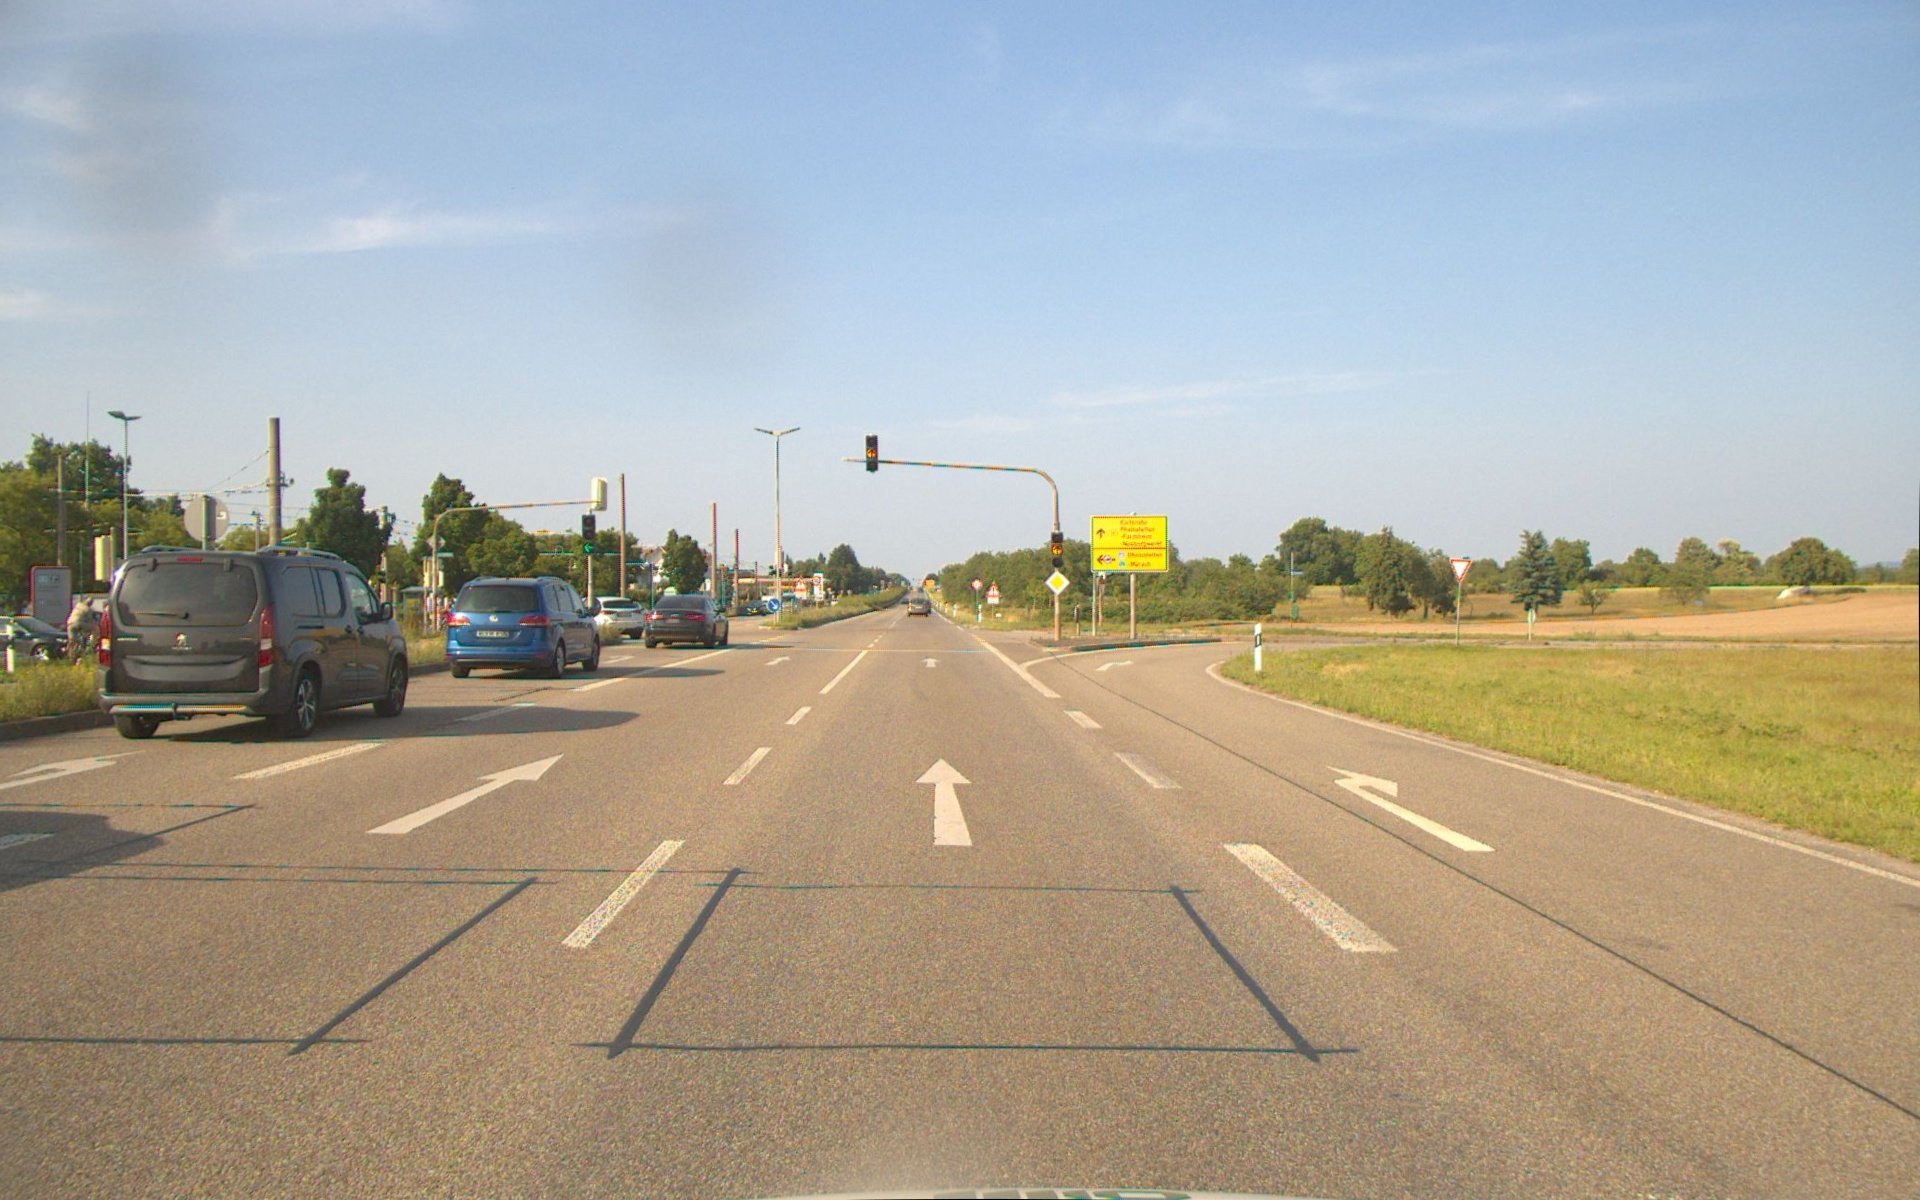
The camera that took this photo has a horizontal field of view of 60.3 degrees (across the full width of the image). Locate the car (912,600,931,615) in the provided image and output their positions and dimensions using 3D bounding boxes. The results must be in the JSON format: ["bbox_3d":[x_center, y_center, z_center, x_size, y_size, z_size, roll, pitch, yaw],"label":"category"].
[{"bbox_3d":[-4.066,0.794,173.932,1.953,1.579,3.999,0,0,-1],"label":"car"}]

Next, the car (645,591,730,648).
[{"bbox_3d":[-7.411,0.499,45.276,1.734,1.497,4.014,0,0,-1],"label":"car"}]

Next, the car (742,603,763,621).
[{"bbox_3d":[-20.383,1.147,162.325,1.654,1.691,3.757,0,0,-1],"label":"car"}]

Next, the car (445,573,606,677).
[{"bbox_3d":[-7.614,0.410,29.434,1.734,1.709,4.519,0,0,-1],"label":"car"}]

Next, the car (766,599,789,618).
[{"bbox_3d":[-16.767,0.790,152.096,1.763,1.651,3.621,1,-1,-1],"label":"car"}]

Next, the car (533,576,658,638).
[{"bbox_3d":[-12.433,0.235,56.443,3.909,2.049,1.833,0,0,27],"label":"car"}]

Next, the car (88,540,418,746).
[{"bbox_3d":[-7.238,0.384,17.461,1.697,1.888,4.518,0,0,-2],"label":"car"}]

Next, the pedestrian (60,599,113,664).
[{"bbox_3d":[-23.962,0.861,45.394,0.898,1.736,1.066,2,-2,-7],"label":"pedestrian"}]

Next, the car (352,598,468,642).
[{"bbox_3d":[-22.188,0.804,66.842,4.205,1.747,1.912,0,0,-11],"label":"car"}]

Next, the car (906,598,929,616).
[{"bbox_3d":[-3.614,0.593,141.755,1.953,1.579,3.999,0,0,-1],"label":"car"}]
